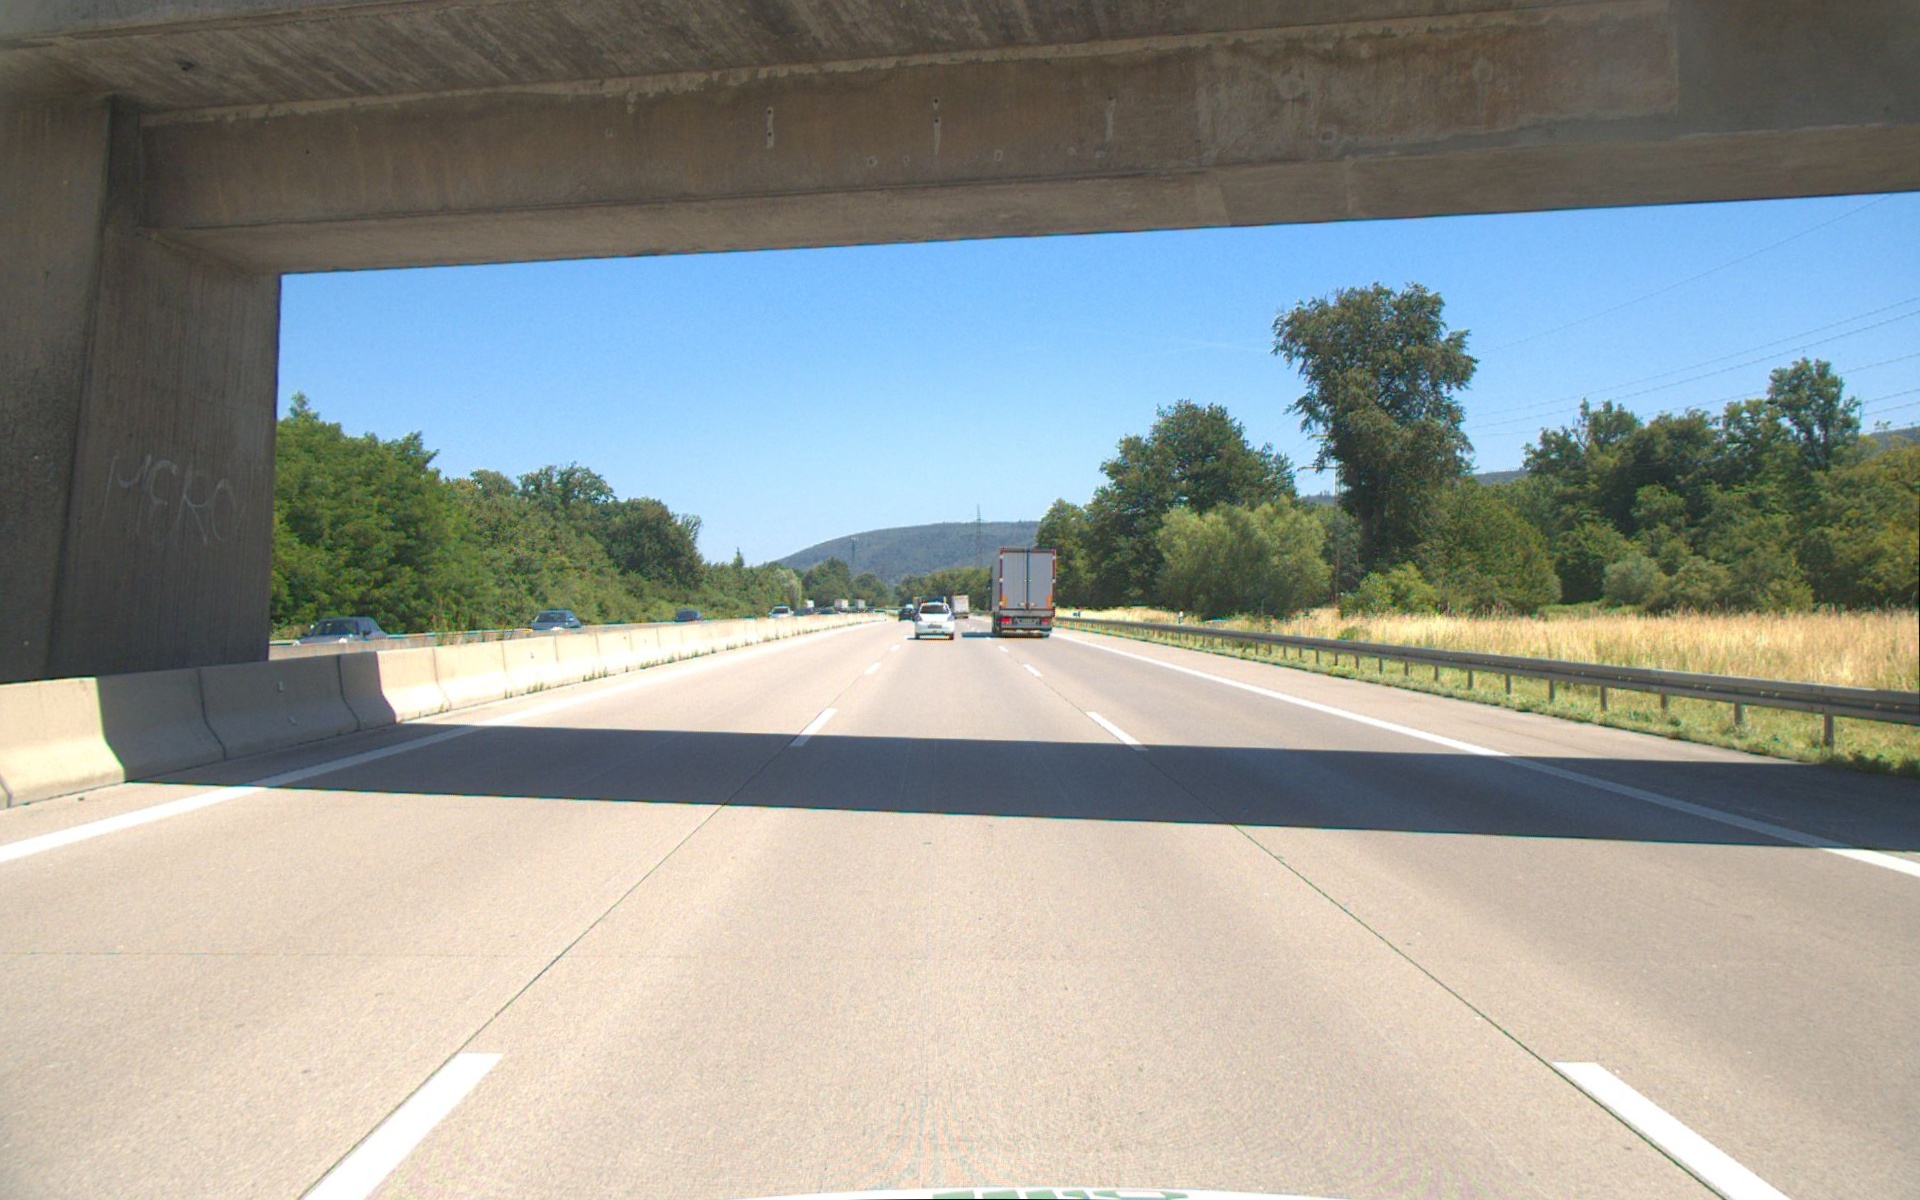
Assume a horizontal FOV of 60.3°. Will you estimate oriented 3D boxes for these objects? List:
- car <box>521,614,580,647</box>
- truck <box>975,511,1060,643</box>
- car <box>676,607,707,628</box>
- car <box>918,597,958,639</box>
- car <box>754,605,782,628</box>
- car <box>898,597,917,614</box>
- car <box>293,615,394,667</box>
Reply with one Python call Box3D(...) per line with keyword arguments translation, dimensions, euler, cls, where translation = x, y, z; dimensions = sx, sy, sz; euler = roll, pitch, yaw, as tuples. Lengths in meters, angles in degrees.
Box3D(translation=(-17.885, 1.313, 72.356), dimensions=(1.533, 1.342, 4.371), euler=(-1, 0, -1), cls="car")
Box3D(translation=(2.671, -1.038, 83.313), dimensions=(3.504, 5.889, 18.245), euler=(0, 0, 0), cls="truck")
Box3D(translation=(-17.659, 1.147, 108.923), dimensions=(1.533, 1.342, 3.631), euler=(-1, 0, -2), cls="car")
Box3D(translation=(-0.926, 0.738, 70.111), dimensions=(1.608, 1.691, 3.359), euler=(1, 0, -1), cls="car")
Box3D(translation=(-15.100, 1.298, 130.433), dimensions=(1.674, 1.707, 4.928), euler=(-1, 0, -1), cls="car")
Box3D(translation=(-5.656, 0.614, 177.703), dimensions=(1.982, 1.730, 3.997), euler=(2, 0, -3), cls="car")
Box3D(translation=(-17.238, 1.123, 46.400), dimensions=(1.533, 1.342, 3.631), euler=(-1, 0, -1), cls="car")
